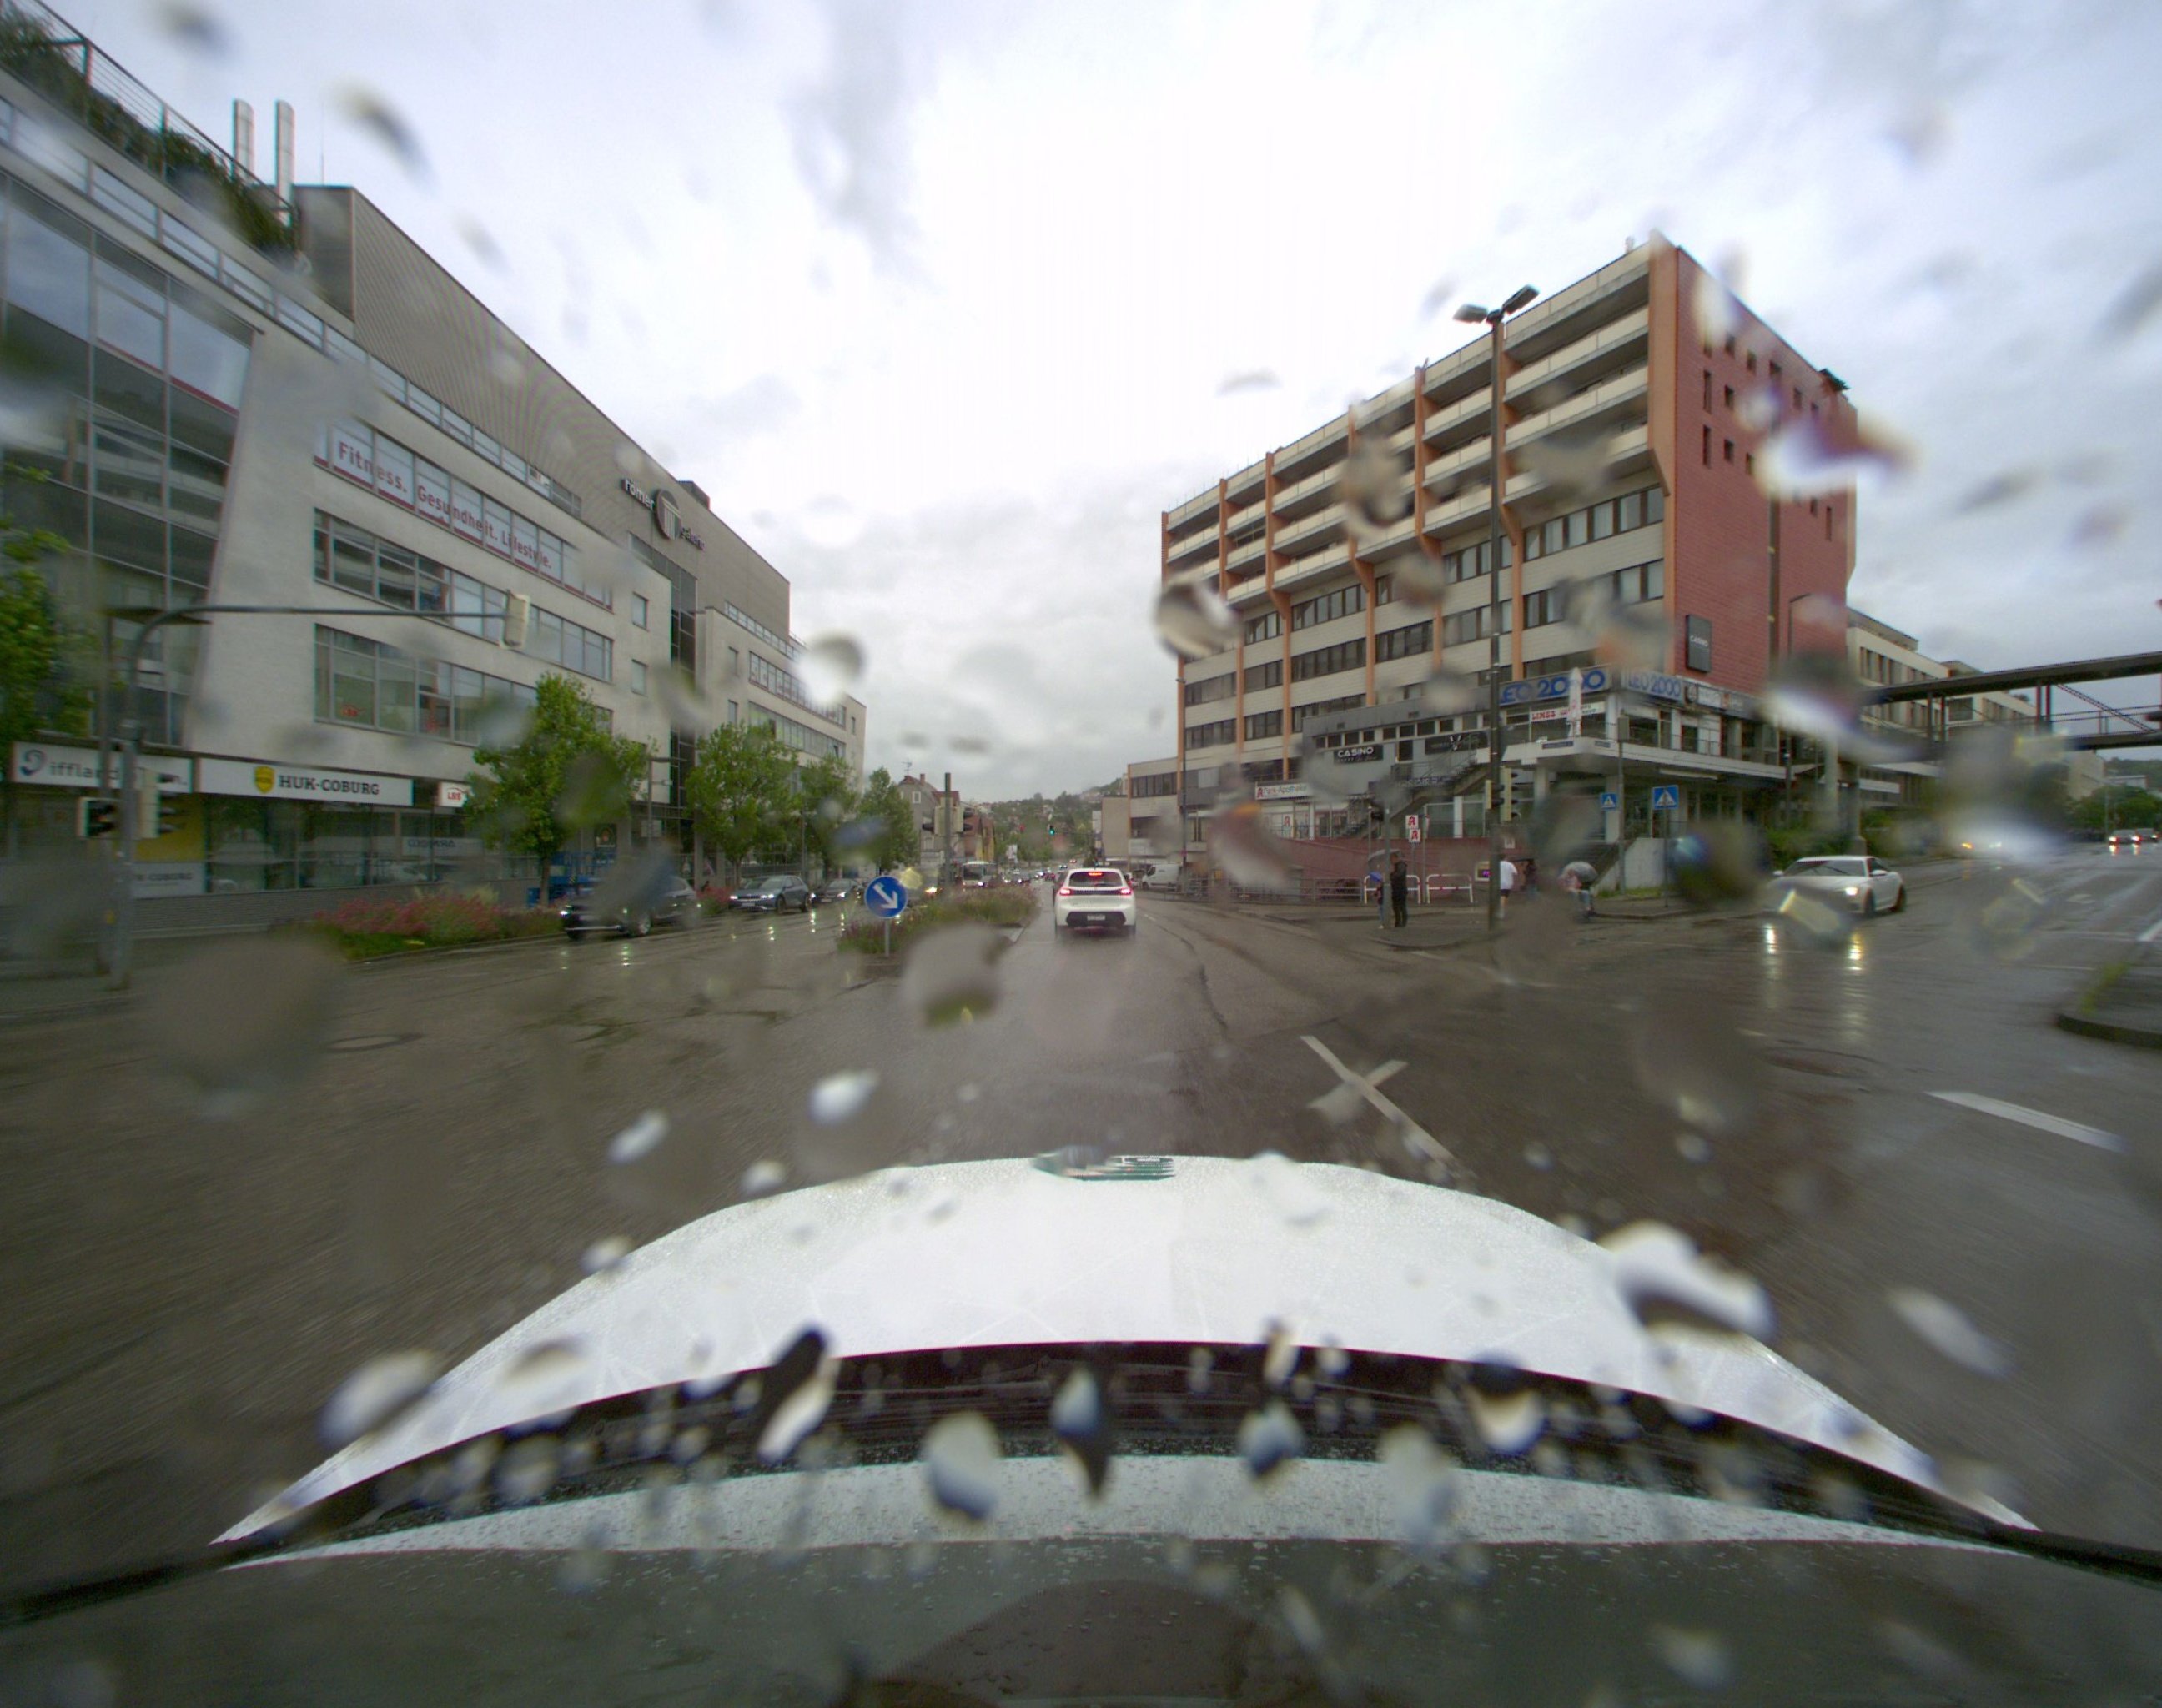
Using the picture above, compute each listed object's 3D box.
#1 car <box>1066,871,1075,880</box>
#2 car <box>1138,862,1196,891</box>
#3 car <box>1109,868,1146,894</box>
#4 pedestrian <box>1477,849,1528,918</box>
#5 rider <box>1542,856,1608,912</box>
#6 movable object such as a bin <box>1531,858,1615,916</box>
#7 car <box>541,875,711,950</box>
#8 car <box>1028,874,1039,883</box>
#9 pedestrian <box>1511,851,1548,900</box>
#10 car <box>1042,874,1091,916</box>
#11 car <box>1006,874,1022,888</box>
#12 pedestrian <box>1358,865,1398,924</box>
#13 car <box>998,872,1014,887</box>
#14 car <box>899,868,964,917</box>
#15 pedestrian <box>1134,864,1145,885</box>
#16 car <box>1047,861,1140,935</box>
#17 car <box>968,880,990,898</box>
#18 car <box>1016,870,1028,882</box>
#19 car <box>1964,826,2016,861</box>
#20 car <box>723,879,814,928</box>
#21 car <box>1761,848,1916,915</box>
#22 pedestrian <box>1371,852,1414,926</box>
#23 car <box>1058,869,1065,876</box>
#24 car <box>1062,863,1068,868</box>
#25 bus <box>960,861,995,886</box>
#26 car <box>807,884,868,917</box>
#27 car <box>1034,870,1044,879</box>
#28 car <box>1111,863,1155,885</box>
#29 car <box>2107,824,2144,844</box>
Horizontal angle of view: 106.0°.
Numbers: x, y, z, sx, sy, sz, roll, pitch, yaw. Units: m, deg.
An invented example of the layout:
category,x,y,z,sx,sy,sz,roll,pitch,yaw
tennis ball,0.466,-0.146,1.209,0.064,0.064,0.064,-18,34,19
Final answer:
category,x,y,z,sx,sy,sz,roll,pitch,yaw
car,-2.011,4.185,157.365,1.741,1.555,3.997,-1,0,-2
car,7.125,1.841,68.087,2.009,2.226,4.921,-1,0,-36
car,2.689,1.561,47.447,1.906,1.400,3.456,0,0,-1
pedestrian,10.744,0.732,20.796,0.823,1.691,1.131,0,0,8
rider,12.238,0.722,20.197,0.919,1.284,1.090,-3,1,-1
movable object such as a bin,12.228,0.797,20.294,1.126,1.332,1.454,-3,-1,-1
car,-11.972,1.467,21.857,1.869,1.594,4.524,-4,-1,0
car,-8.702,4.438,149.106,1.741,1.555,3.997,-1,0,-2
pedestrian,15.632,0.748,28.413,0.791,1.668,0.931,0,0,1
car,-0.557,1.700,34.954,1.809,1.529,3.814,-3,0,2
car,-8.631,3.481,105.134,1.811,1.555,3.996,-1,0,-3
pedestrian,6.937,0.936,19.048,0.705,1.345,0.656,-1,-1,3
car,-8.519,2.833,92.508,1.813,1.555,3.992,-1,0,-6
car,-6.193,1.590,34.237,1.988,1.824,4.295,-2,-2,-2
pedestrian,5.126,1.758,71.472,0.644,1.822,0.576,-1,-1,-33
car,0.233,0.959,18.355,1.866,1.462,3.871,1,-2,-1
car,-9.733,3.319,78.228,1.890,1.555,3.993,-1,0,-5
car,-9.055,3.364,125.144,1.741,1.555,3.997,-1,0,-2
car,55.474,-0.650,49.666,4.021,2.014,1.976,0,-1,-41
car,-12.498,1.929,32.908,1.768,1.594,4.588,-4,-1,0
car,18.458,0.605,19.776,4.810,1.406,1.792,-1,-1,-36
pedestrian,6.923,0.761,18.135,0.705,1.607,0.656,-1,0,3
car,-4.944,4.564,204.458,1.741,1.555,3.997,-1,0,-2
car,-5.024,3.685,259.653,1.741,1.555,3.997,-1,0,-2
bus,-12.209,2.239,96.688,2.929,2.783,9.501,-2,0,-1
car,-12.074,2.260,40.621,1.721,1.388,4.597,-2,-1,-1
car,-8.397,4.118,162.517,1.740,1.555,4.000,-2,0,0
car,4.620,1.751,73.209,1.898,1.879,4.093,-1,0,-33
car,98.360,-1.845,76.685,4.014,1.807,1.699,-1,-1,-32
